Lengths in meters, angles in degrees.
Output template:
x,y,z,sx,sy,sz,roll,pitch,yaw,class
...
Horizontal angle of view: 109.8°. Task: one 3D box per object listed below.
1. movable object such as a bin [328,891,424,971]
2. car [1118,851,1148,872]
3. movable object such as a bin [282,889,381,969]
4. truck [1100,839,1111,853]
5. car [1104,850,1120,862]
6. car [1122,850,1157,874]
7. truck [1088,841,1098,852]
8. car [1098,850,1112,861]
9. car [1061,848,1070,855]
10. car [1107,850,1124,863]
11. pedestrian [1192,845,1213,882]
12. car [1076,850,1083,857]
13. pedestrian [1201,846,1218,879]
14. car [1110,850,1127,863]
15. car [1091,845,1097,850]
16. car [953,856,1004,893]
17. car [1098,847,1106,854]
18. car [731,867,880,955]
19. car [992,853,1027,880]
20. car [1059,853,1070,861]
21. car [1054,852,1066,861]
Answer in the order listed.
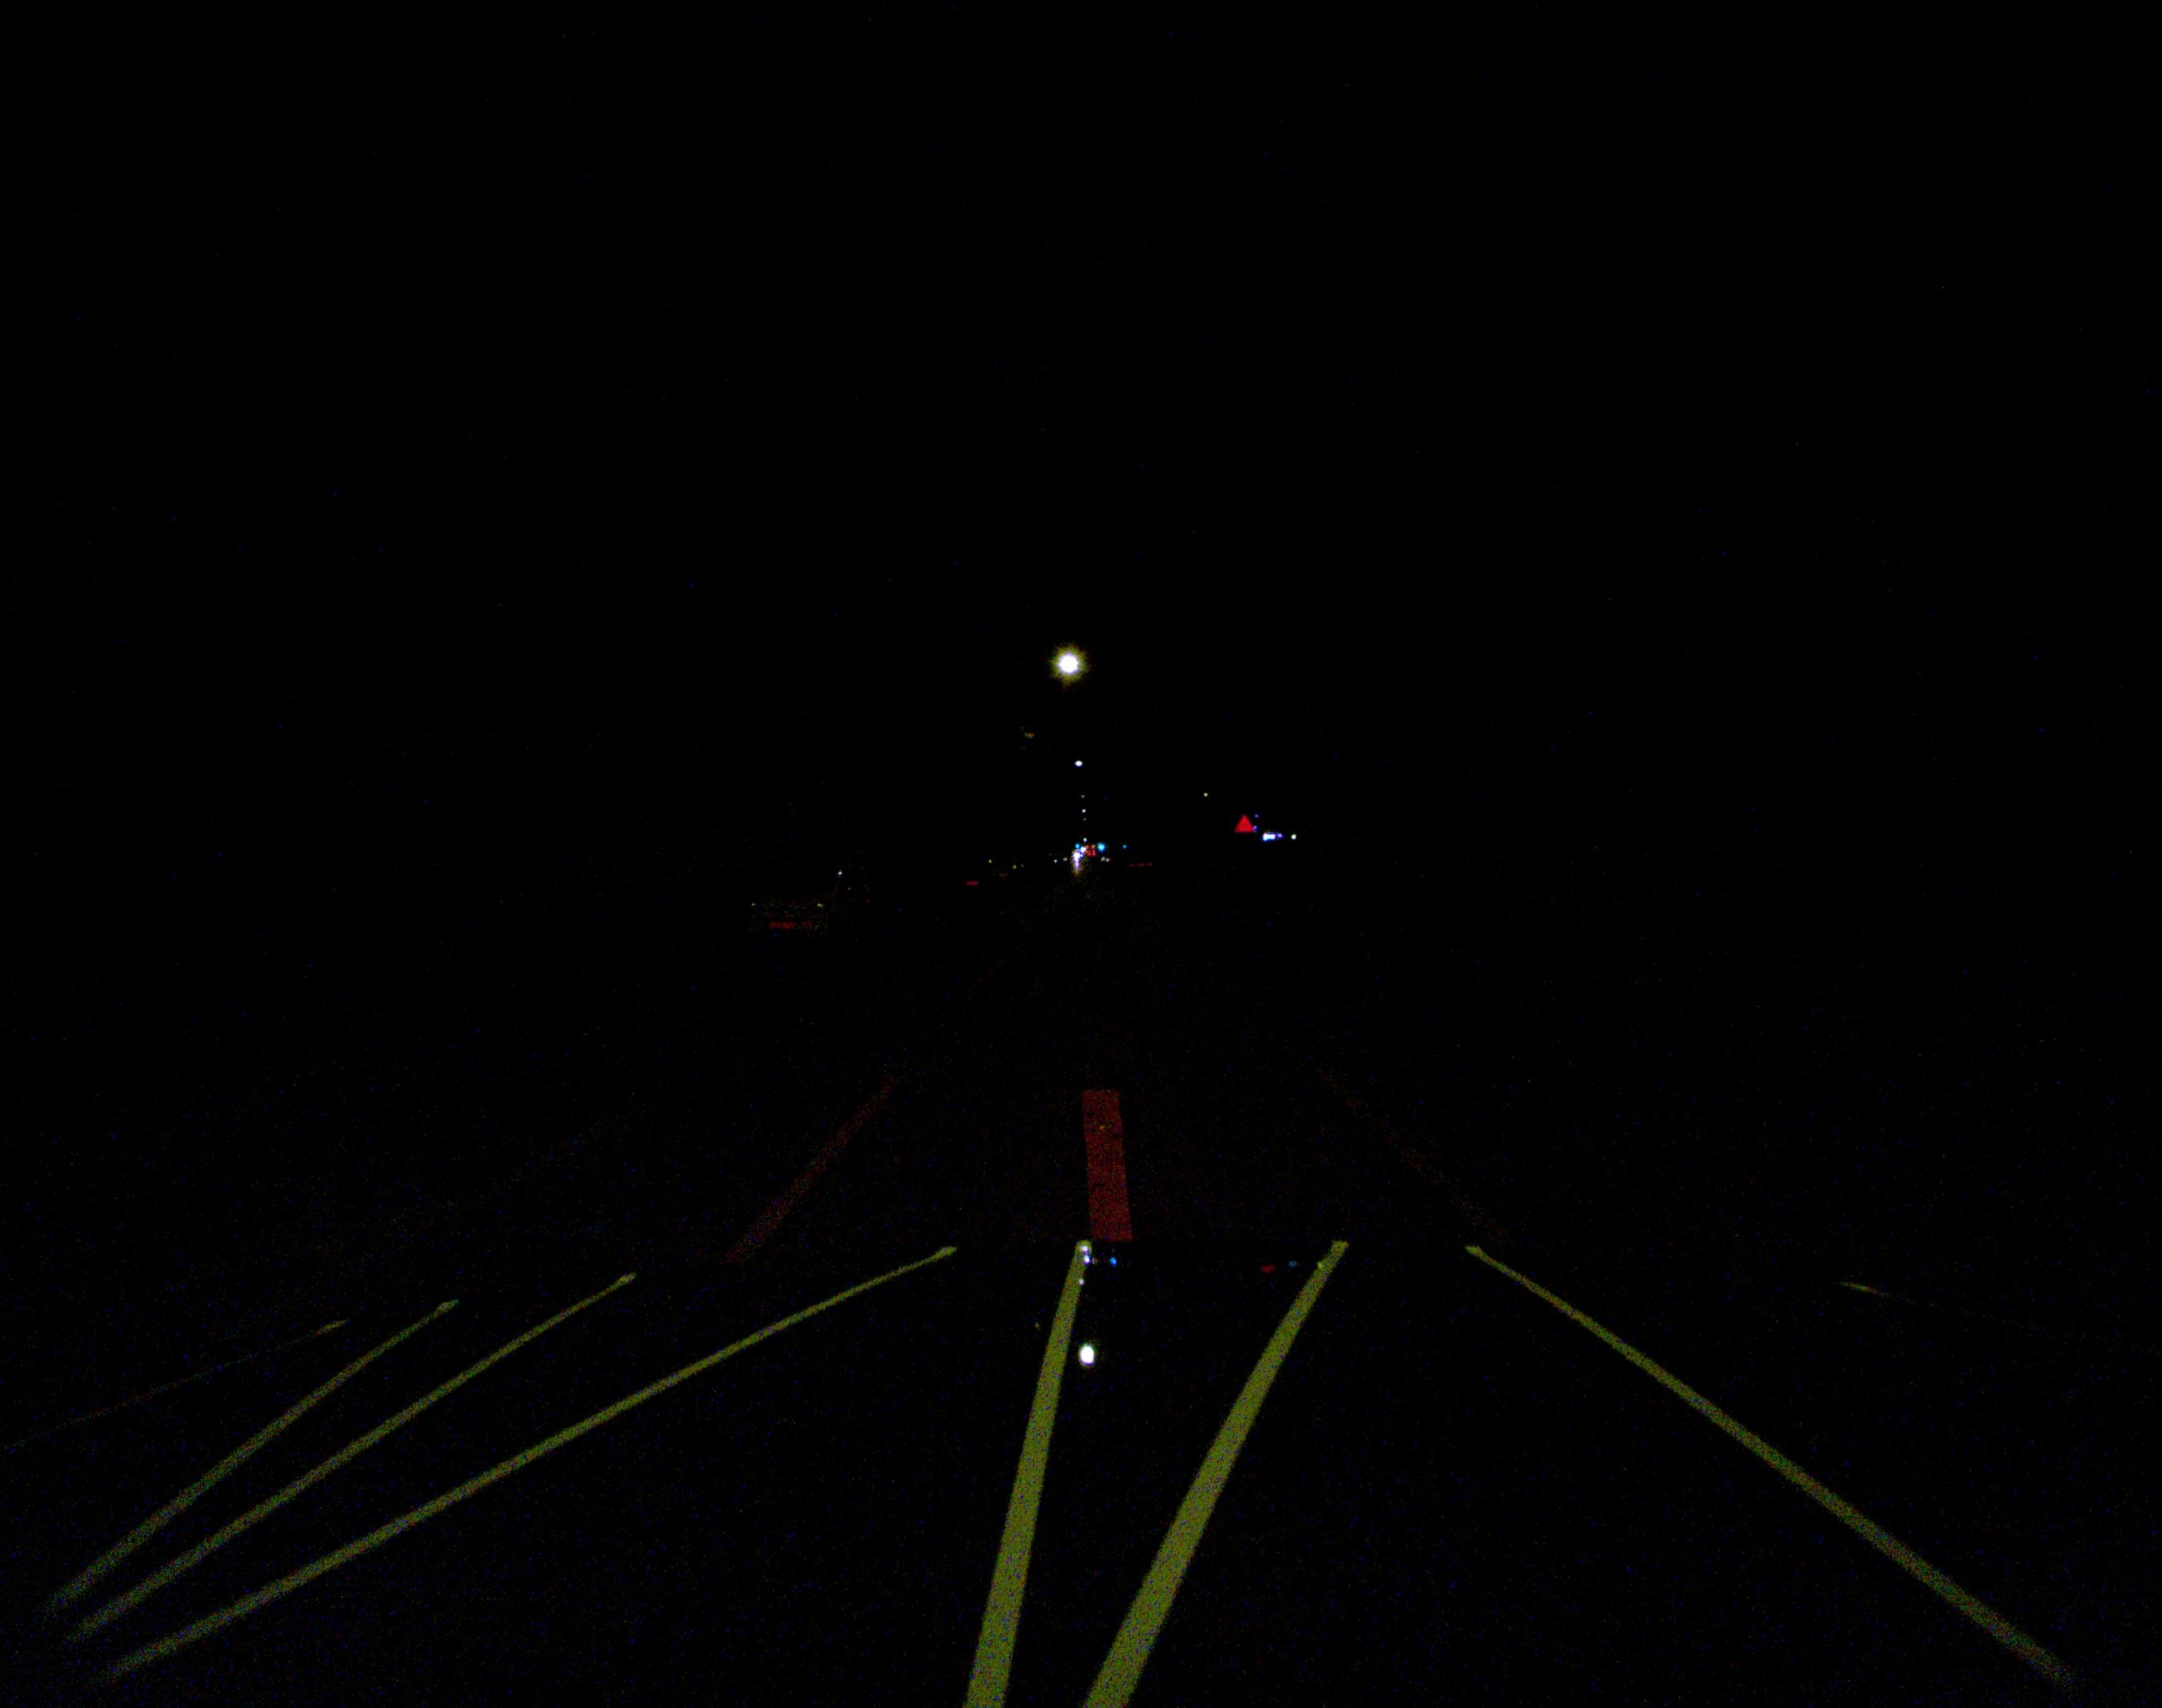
x,y,z,sx,sy,sz,roll,pitch,yaw,class
-10.053,1.083,10.863,0.609,1.042,0.755,-2,1,1,movable object such as a bin
3.899,0.558,57.838,1.864,1.458,3.896,-4,0,-1,car
-10.691,1.048,10.865,0.609,1.042,0.755,-2,1,1,movable object such as a bin
4.978,-1.631,155.501,2.084,2.562,6.873,-2,0,1,truck
4.451,0.292,110.057,1.874,1.635,3.999,-2,0,-3,car
3.977,0.515,52.323,1.864,1.524,4.587,-4,0,-1,car
4.166,-2.525,259.369,3.222,3.360,8.850,-2,0,1,truck
3.738,0.202,119.489,1.874,1.635,3.999,-2,0,-3,car
-3.312,-0.537,163.552,1.874,1.407,3.999,-2,0,0,car
4.733,0.351,105.119,1.874,1.635,3.999,-2,0,-3,car
5.726,0.434,35.930,0.744,1.662,1.103,-2,1,0,pedestrian
-0.377,-0.109,195.956,1.874,1.635,3.999,-2,0,0,car
6.754,0.436,39.878,0.670,1.716,0.866,-2,1,-2,pedestrian
4.975,0.324,100.863,1.874,1.635,3.999,-2,0,-3,car
4.078,-1.937,235.239,1.873,1.635,4.000,-2,0,1,car
-4.562,0.870,34.282,1.865,1.544,4.044,0,0,-1,car
5.013,-0.768,180.307,1.873,1.551,4.353,-2,0,1,car
-5.330,1.030,15.196,1.672,1.476,3.603,0,0,0,car
-4.445,0.769,47.804,1.742,1.588,4.359,0,0,1,car
-2.972,0.563,134.794,1.874,1.407,3.999,-2,0,0,car
-3.567,0.389,128.519,1.874,1.407,3.999,-2,0,0,car
